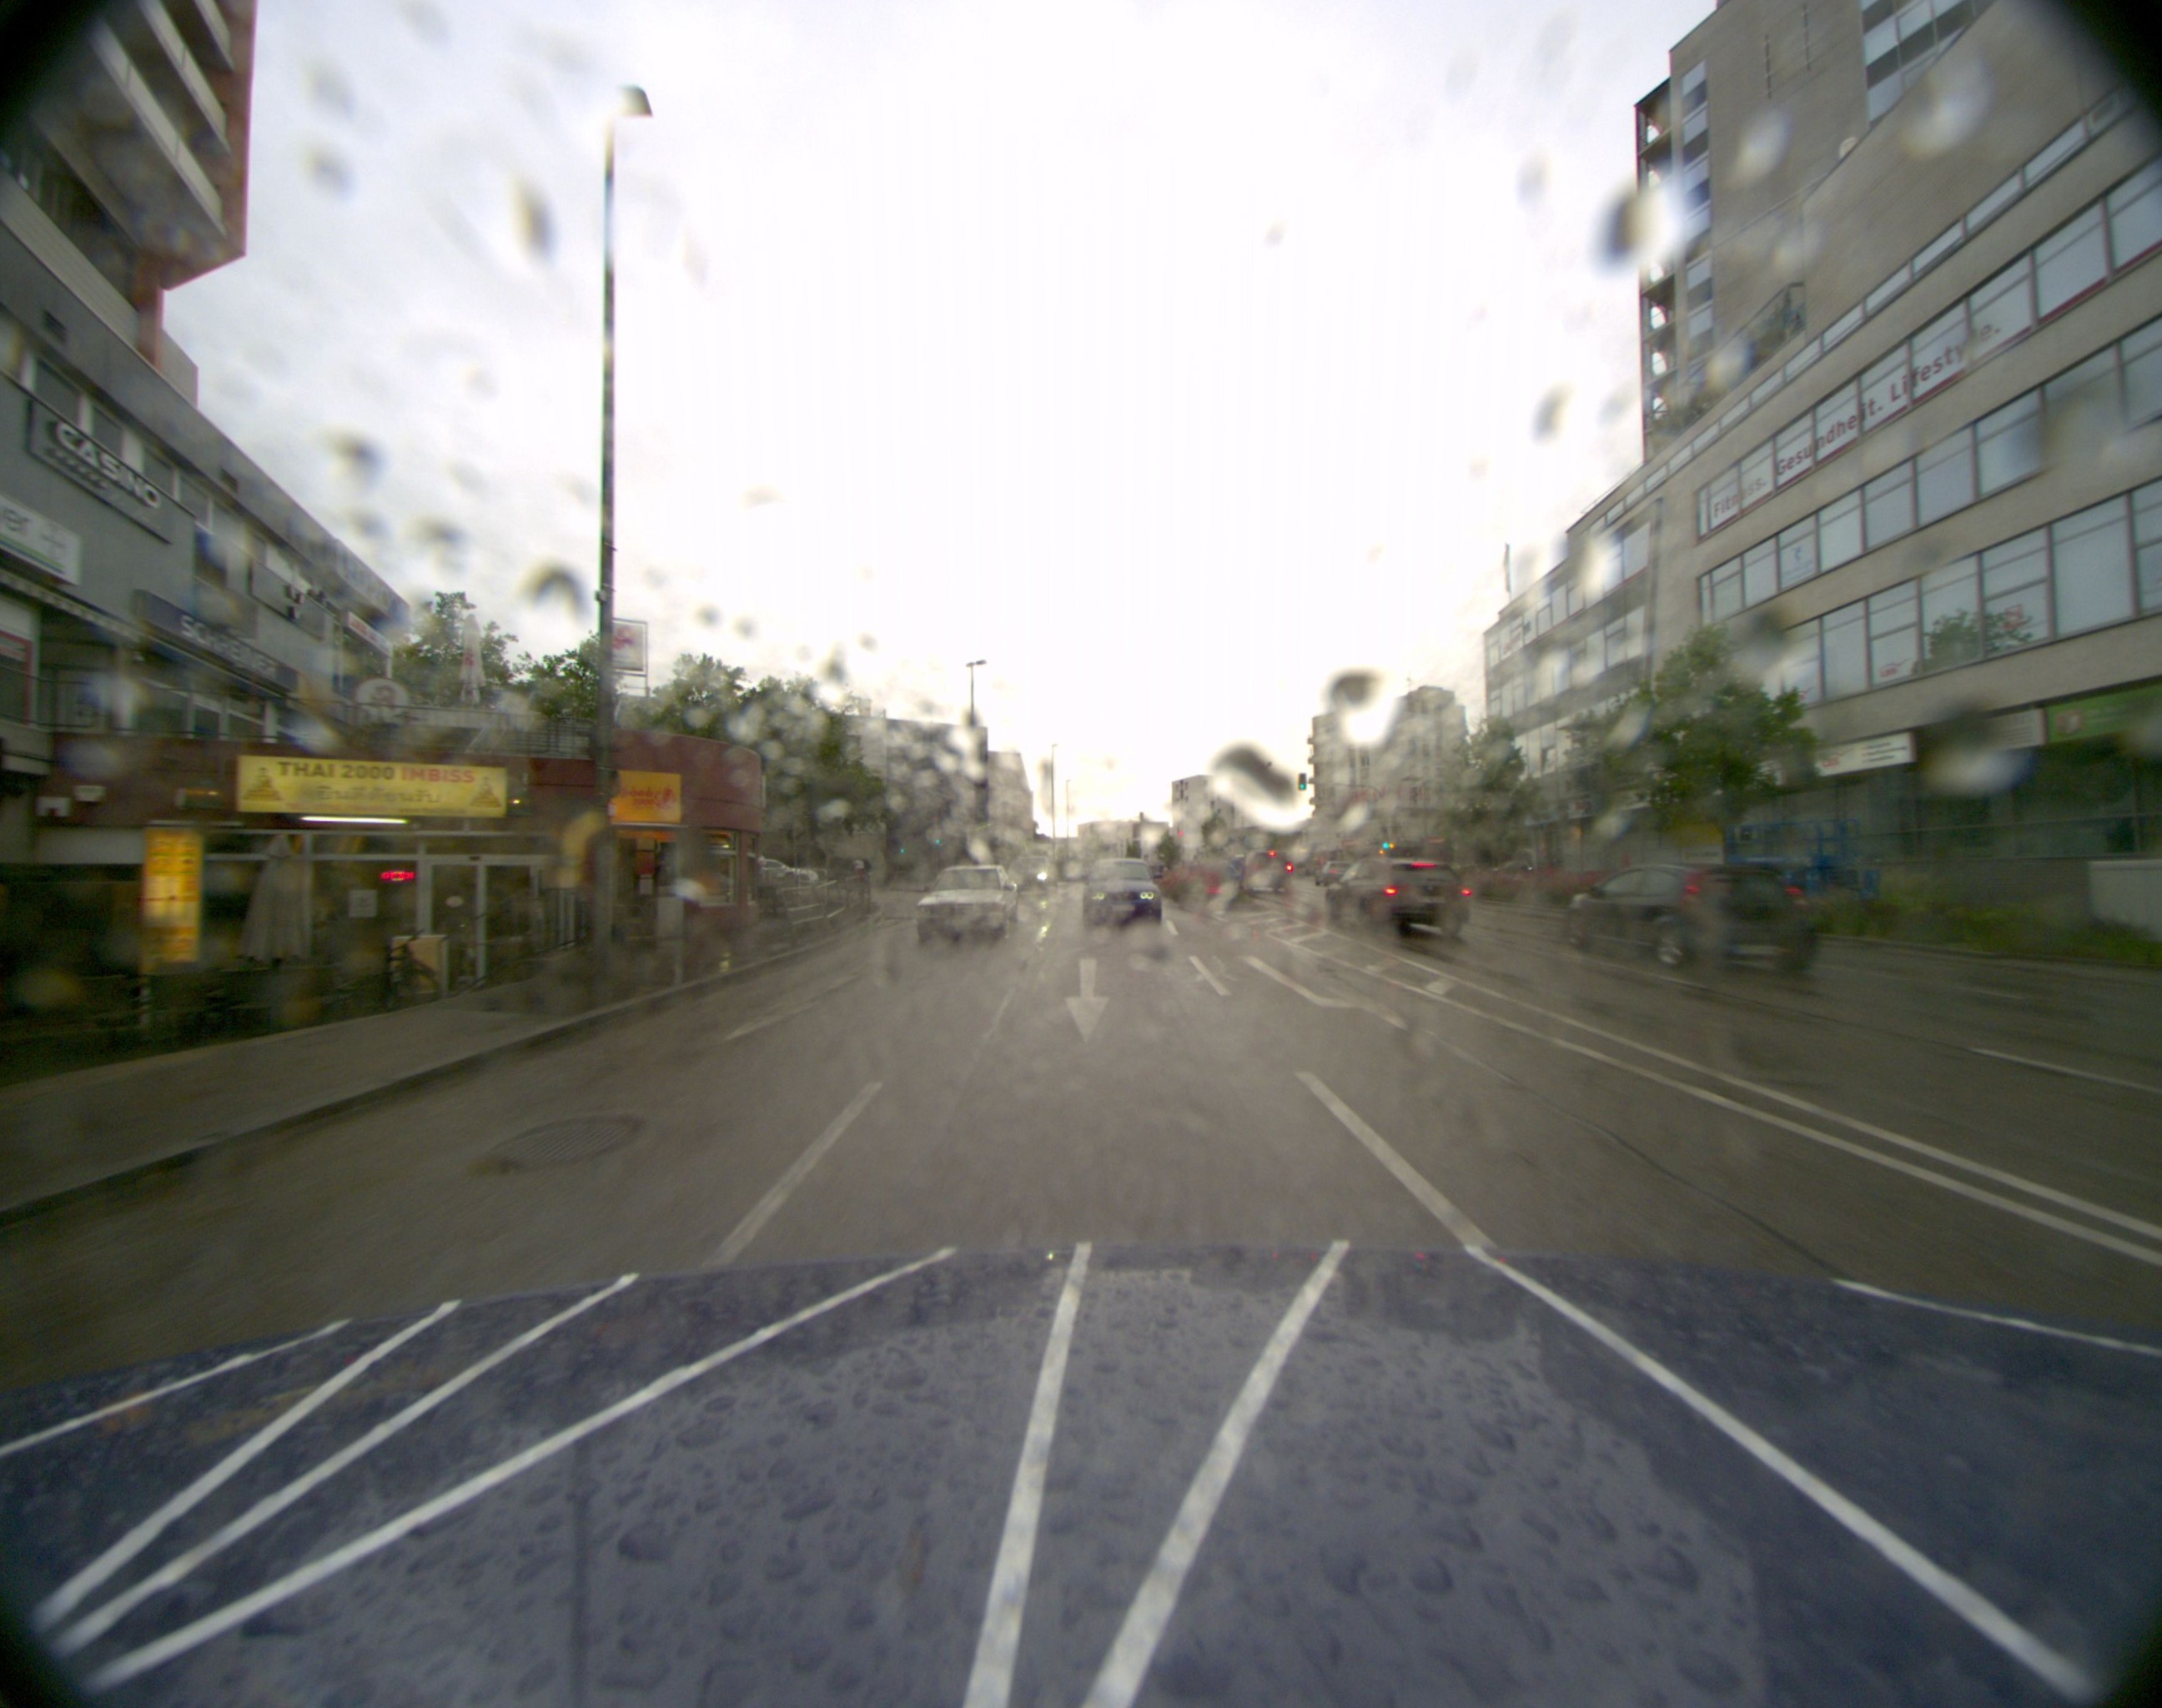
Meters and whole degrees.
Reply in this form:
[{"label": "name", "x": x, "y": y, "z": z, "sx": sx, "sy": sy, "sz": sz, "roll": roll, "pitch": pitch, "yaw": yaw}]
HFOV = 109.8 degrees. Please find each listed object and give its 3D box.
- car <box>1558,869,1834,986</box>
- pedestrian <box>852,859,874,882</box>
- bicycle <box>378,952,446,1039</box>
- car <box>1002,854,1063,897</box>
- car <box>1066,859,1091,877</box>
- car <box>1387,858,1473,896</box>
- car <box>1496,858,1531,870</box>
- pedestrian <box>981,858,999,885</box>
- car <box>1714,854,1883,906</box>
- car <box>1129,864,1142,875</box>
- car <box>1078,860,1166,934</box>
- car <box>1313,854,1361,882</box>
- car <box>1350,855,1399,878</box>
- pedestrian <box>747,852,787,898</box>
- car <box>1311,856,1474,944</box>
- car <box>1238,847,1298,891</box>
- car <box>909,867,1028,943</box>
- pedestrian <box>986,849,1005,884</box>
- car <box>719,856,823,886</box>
[{"label": "car", "x": 8.688, "y": 0.944, "z": 11.124, "sx": 1.568, "sy": 1.367, "sz": 3.283, "roll": 1, "pitch": 0, "yaw": 5}, {"label": "pedestrian", "x": -13.114, "y": 0.986, "z": 45.663, "sx": 0.924, "sy": 1.392, "sz": 1.210, "roll": -1, "pitch": 1, "yaw": -34}, {"label": "bicycle", "x": -9.316, "y": 1.932, "z": 10.626, "sx": 0.532, "sy": 0.932, "sz": 1.573, "roll": 2, "pitch": -1, "yaw": -36}, {"label": "car", "x": -1.911, "y": 0.838, "z": 31.508, "sx": 2.058, "sy": 1.637, "sz": 4.481, "roll": 0, "pitch": 0, "yaw": 2}, {"label": "car", "x": -0.142, "y": 1.147, "z": 63.868, "sx": 1.854, "sy": 1.490, "sz": 3.906, "roll": 0, "pitch": 0, "yaw": 4}, {"label": "car", "x": 13.708, "y": 0.845, "z": 30.144, "sx": 1.634, "sy": 1.338, "sz": 4.707, "roll": 1, "pitch": 0, "yaw": 6}, {"label": "car", "x": 45.617, "y": 1.033, "z": 80.175, "sx": 3.074, "sy": 1.186, "sz": 1.444, "roll": 0, "pitch": 0, "yaw": -17}, {"label": "pedestrian", "x": -4.735, "y": 0.901, "z": 39.468, "sx": 0.687, "sy": 1.372, "sz": 0.772, "roll": 3, "pitch": 1, "yaw": 11}, {"label": "car", "x": 21.171, "y": 0.721, "z": 22.659, "sx": 1.756, "sy": 1.402, "sz": 3.732, "roll": 0, "pitch": 0, "yaw": 6}, {"label": "car", "x": 8.496, "y": 2.440, "z": 119.211, "sx": 1.750, "sy": 1.533, "sz": 4.422, "roll": 0, "pitch": 0, "yaw": 1}, {"label": "car", "x": 0.922, "y": 0.852, "z": 16.756, "sx": 1.688, "sy": 1.373, "sz": 3.795, "roll": -2, "pitch": 0, "yaw": 4}, {"label": "car", "x": 15.576, "y": 0.820, "z": 46.439, "sx": 1.920, "sy": 1.539, "sz": 4.004, "roll": 1, "pitch": 0, "yaw": 6}, {"label": "car", "x": 21.668, "y": 0.936, "z": 56.036, "sx": 4.208, "sy": 1.617, "sz": 1.680, "roll": 1, "pitch": 0, "yaw": -43}, {"label": "pedestrian", "x": -12.576, "y": 0.826, "z": 30.436, "sx": 0.714, "sy": 1.818, "sz": 1.266, "roll": 0, "pitch": 1, "yaw": 35}, {"label": "car", "x": 6.113, "y": 0.820, "z": 15.491, "sx": 1.711, "sy": 1.508, "sz": 4.392, "roll": 0, "pitch": 0, "yaw": 3}, {"label": "car", "x": 8.199, "y": 0.609, "z": 33.713, "sx": 1.867, "sy": 1.780, "sz": 4.001, "roll": 2, "pitch": 0, "yaw": 4}, {"label": "car", "x": -2.217, "y": 0.976, "z": 15.987, "sx": 1.661, "sy": 1.300, "sz": 3.996, "roll": 0, "pitch": 0, "yaw": 4}, {"label": "pedestrian", "x": -4.536, "y": 0.647, "z": 40.339, "sx": 0.687, "sy": 1.793, "sz": 0.798, "roll": 3, "pitch": 1, "yaw": 11}, {"label": "car", "x": -16.259, "y": 0.854, "z": 39.921, "sx": 4.938, "sy": 1.505, "sz": 1.847, "roll": 0, "pitch": 1, "yaw": -26}]
